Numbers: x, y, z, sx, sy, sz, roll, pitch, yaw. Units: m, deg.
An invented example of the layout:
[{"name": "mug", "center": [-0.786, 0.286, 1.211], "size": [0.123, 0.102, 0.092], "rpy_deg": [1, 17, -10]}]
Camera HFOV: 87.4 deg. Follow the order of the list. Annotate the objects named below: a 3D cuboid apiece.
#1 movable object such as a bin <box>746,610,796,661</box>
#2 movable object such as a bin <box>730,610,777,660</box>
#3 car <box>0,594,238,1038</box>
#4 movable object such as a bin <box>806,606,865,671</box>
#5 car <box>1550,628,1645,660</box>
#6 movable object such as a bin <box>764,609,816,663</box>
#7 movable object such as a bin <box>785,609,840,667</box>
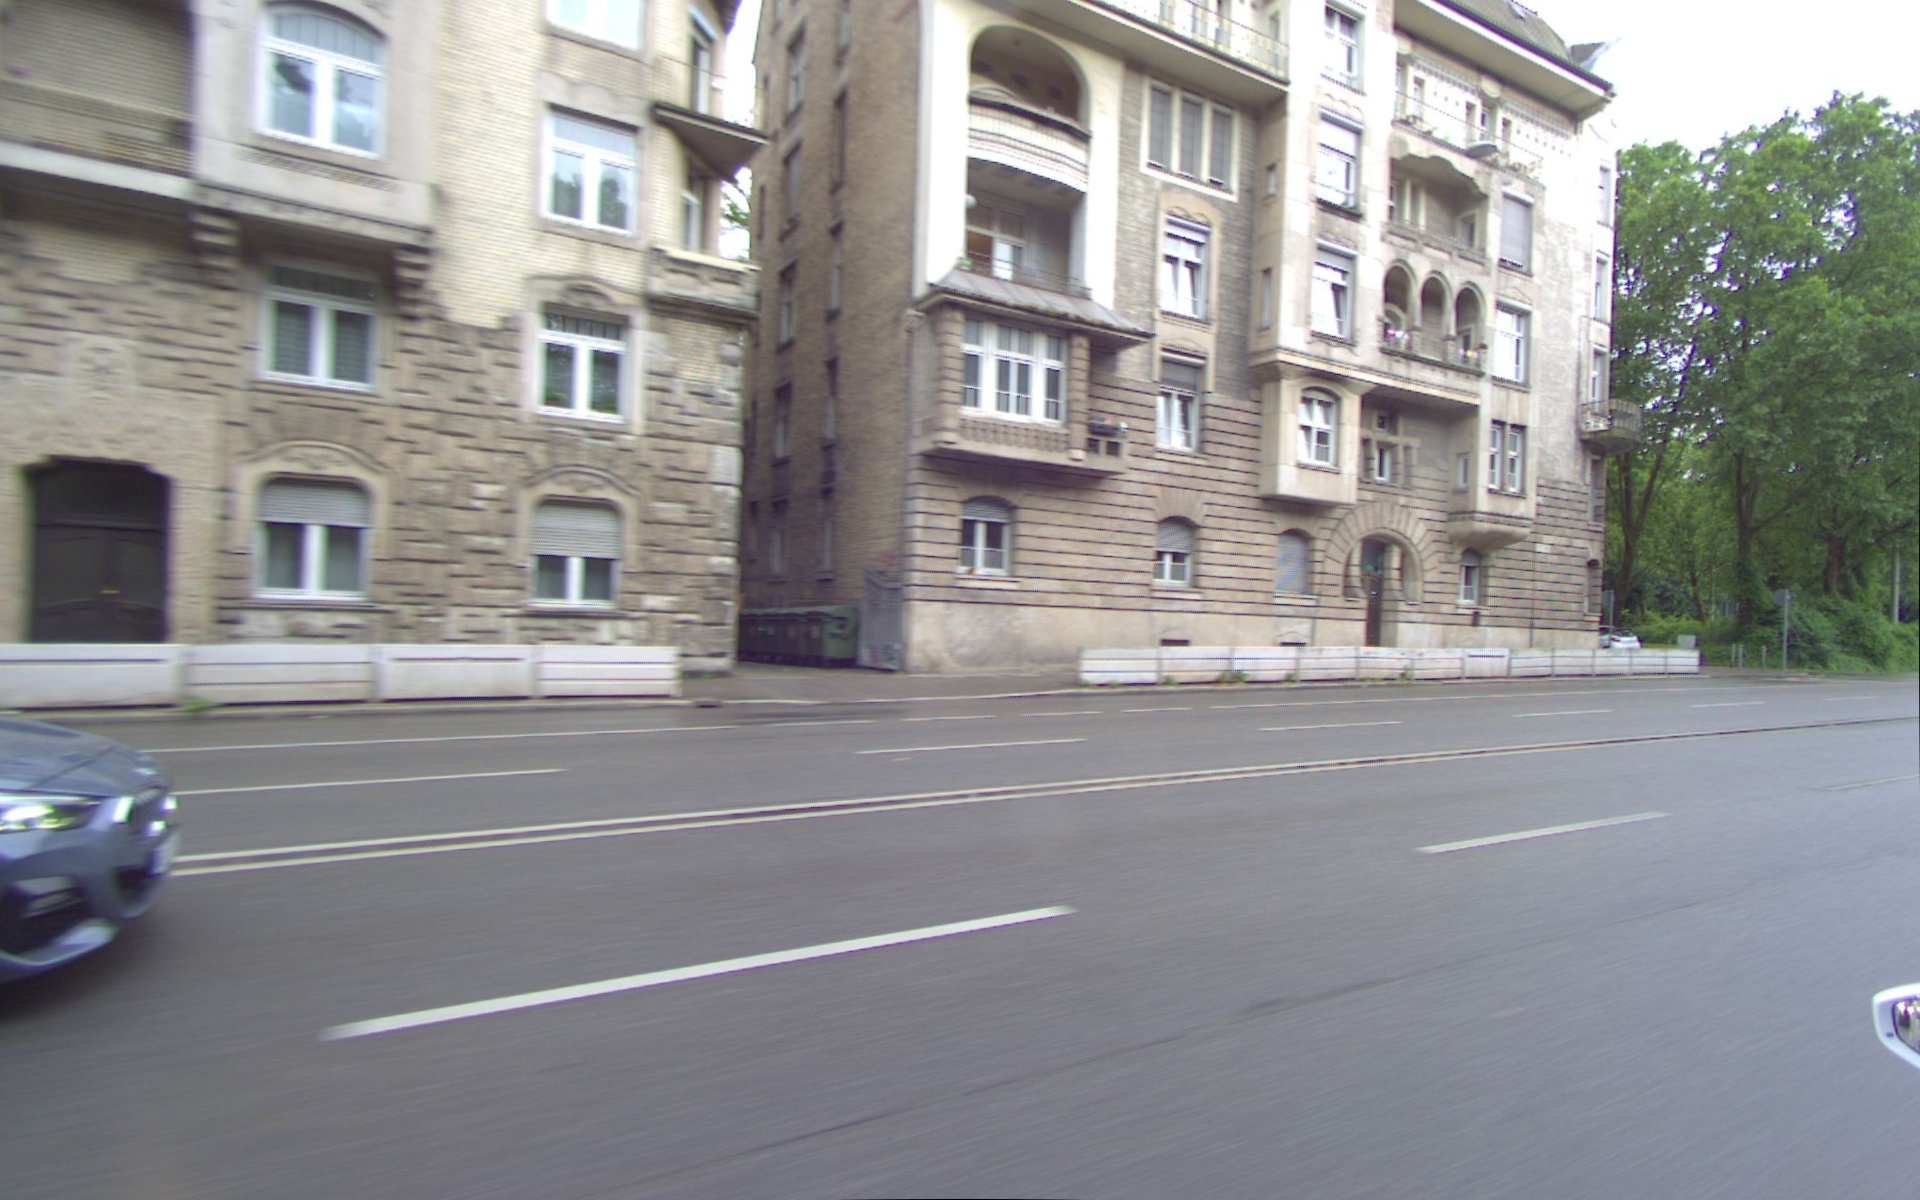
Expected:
[{"name": "movable object such as a bin", "center": [-5.168, 0.950, 27.436], "size": [1.011, 1.350, 1.019], "rpy_deg": [-2, 0, -32]}, {"name": "movable object such as a bin", "center": [-5.881, 0.972, 28.541], "size": [1.011, 1.350, 1.019], "rpy_deg": [-2, 0, -32]}, {"name": "car", "center": [-5.059, 0.655, 3.037], "size": [4.487, 1.434, 1.657], "rpy_deg": [2, -1, -31]}, {"name": "movable object such as a bin", "center": [-2.907, 0.878, 23.477], "size": [1.011, 1.454, 1.019], "rpy_deg": [-2, 0, -32]}, {"name": "car", "center": [30.171, 2.067, 47.617], "size": [1.752, 1.394, 3.490], "rpy_deg": [0, -1, -20]}, {"name": "movable object such as a bin", "center": [-4.432, 0.916, 26.123], "size": [1.011, 1.350, 1.019], "rpy_deg": [-2, 0, -32]}, {"name": "movable object such as a bin", "center": [-3.645, 0.917, 24.809], "size": [1.011, 1.350, 1.019], "rpy_deg": [-2, 0, -32]}]
